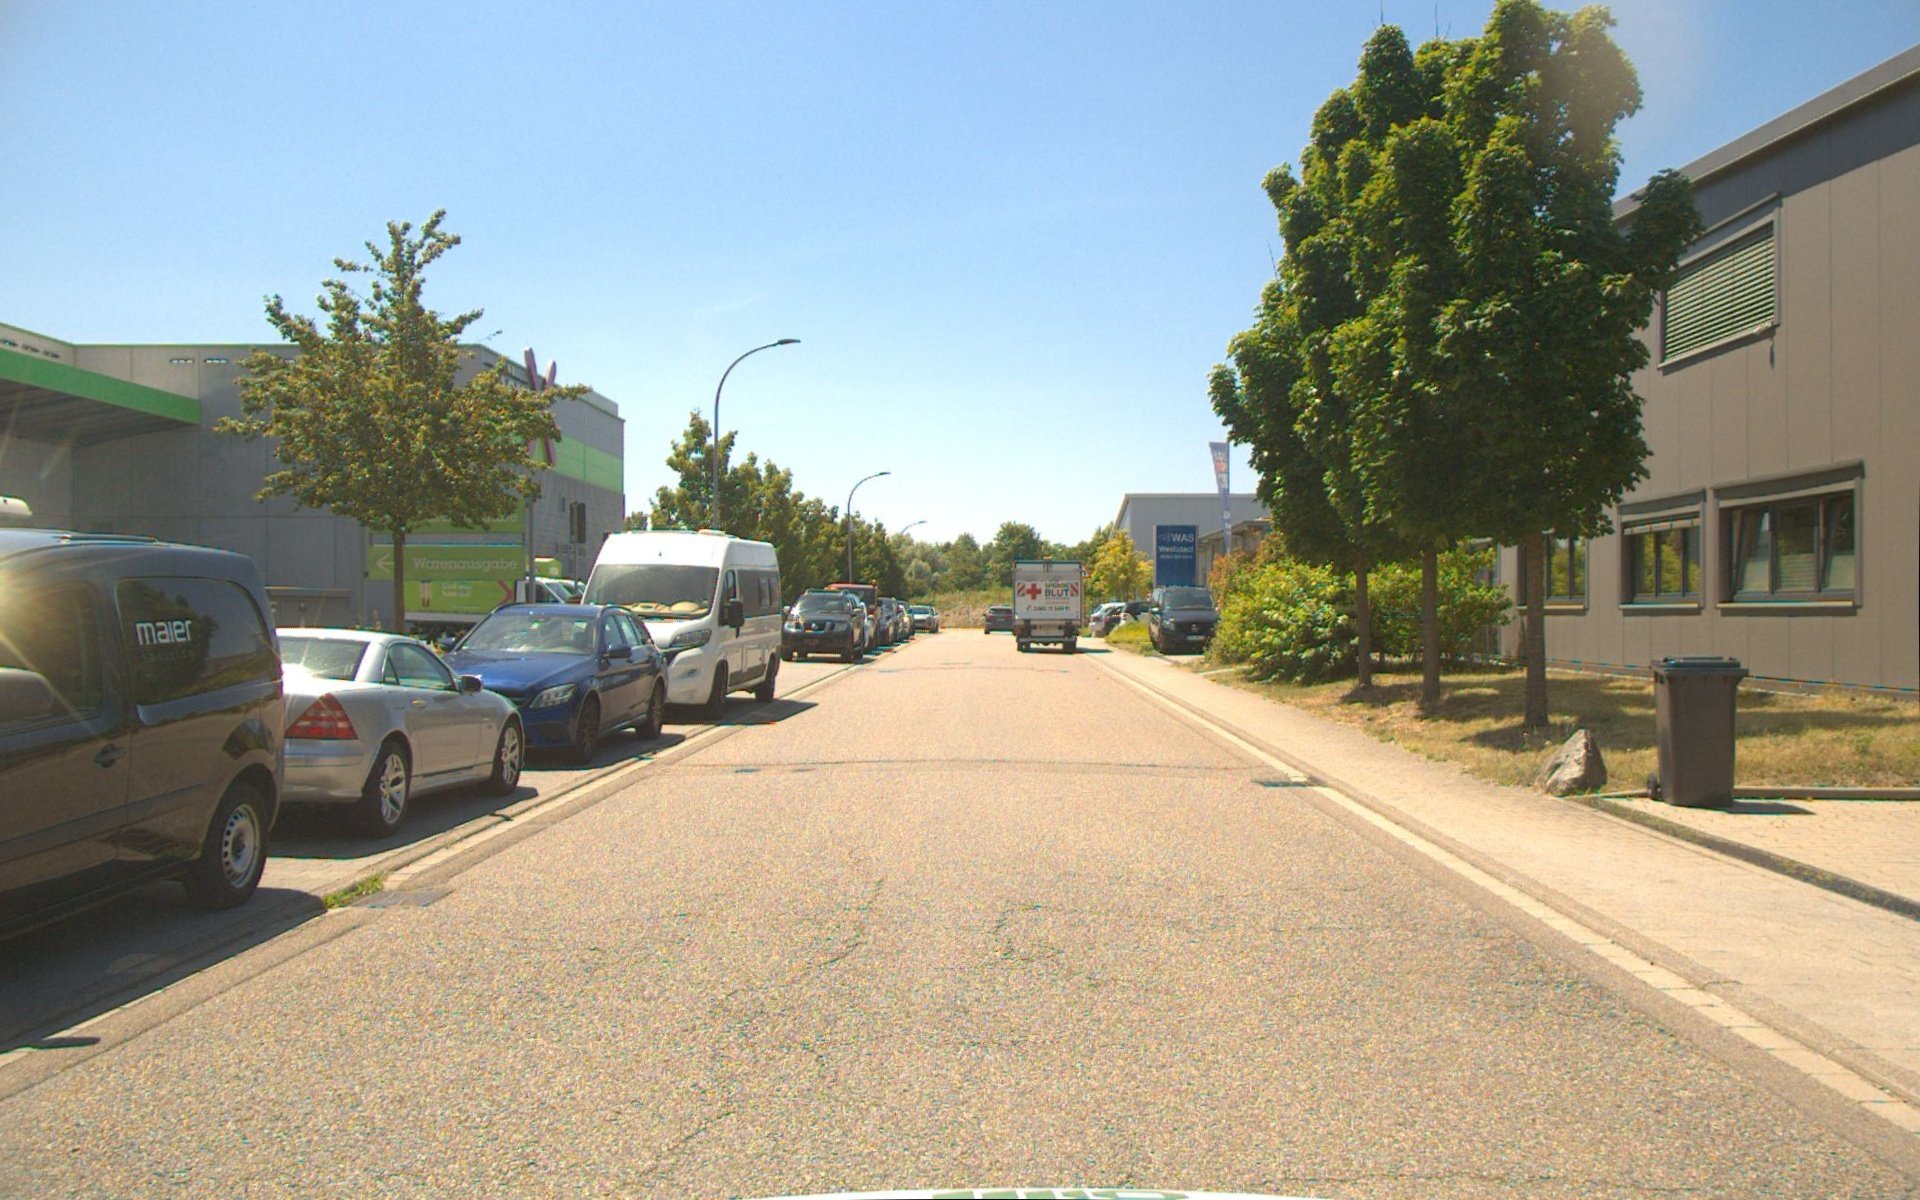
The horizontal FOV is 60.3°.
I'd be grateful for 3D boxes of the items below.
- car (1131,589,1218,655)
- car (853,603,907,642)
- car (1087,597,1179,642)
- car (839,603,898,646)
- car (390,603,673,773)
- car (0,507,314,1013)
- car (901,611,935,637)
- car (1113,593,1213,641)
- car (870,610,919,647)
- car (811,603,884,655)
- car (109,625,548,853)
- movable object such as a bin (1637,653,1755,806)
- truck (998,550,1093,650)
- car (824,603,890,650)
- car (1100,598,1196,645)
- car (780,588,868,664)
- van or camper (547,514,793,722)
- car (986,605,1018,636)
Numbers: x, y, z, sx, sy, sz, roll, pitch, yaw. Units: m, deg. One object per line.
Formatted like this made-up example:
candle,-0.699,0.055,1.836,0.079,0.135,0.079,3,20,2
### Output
car,6.264,0.640,48.670,1.953,1.835,4.138,0,-1,-1
car,-3.182,0.882,66.756,1.761,1.513,4.254,1,0,3
car,7.606,0.873,72.916,3.797,1.780,1.751,2,-1,-1
car,-3.357,0.890,61.329,1.761,1.513,4.254,1,0,3
car,-4.229,0.795,17.030,1.762,1.475,4.252,1,0,0
car,-4.369,0.577,6.711,1.762,1.846,4.252,1,-1,0
car,-2.535,1.470,101.449,1.761,1.513,4.254,1,0,3
car,8.338,0.699,68.096,3.797,1.780,1.751,2,-1,-1
car,-2.852,1.222,72.451,1.761,1.513,4.254,1,0,3
car,-3.458,0.861,51.466,1.761,1.513,4.254,1,0,3
car,-4.257,0.854,11.814,1.447,1.320,3.900,1,-1,3
movable object such as a bin,5.402,0.931,12.182,0.520,1.071,0.845,0,-1,3
truck,2.777,0.033,55.235,2.872,3.026,6.420,2,-1,1
car,-3.500,0.892,56.881,1.761,1.513,4.254,1,0,3
car,7.970,0.912,70.209,3.797,1.780,1.751,2,-1,-1
car,-3.567,0.653,43.980,1.761,1.881,4.254,1,0,3
van or camper,-3.956,0.267,23.851,2.035,2.526,6.133,2,-1,3
car,2.357,1.157,93.359,1.752,1.652,3.809,2,-1,1
